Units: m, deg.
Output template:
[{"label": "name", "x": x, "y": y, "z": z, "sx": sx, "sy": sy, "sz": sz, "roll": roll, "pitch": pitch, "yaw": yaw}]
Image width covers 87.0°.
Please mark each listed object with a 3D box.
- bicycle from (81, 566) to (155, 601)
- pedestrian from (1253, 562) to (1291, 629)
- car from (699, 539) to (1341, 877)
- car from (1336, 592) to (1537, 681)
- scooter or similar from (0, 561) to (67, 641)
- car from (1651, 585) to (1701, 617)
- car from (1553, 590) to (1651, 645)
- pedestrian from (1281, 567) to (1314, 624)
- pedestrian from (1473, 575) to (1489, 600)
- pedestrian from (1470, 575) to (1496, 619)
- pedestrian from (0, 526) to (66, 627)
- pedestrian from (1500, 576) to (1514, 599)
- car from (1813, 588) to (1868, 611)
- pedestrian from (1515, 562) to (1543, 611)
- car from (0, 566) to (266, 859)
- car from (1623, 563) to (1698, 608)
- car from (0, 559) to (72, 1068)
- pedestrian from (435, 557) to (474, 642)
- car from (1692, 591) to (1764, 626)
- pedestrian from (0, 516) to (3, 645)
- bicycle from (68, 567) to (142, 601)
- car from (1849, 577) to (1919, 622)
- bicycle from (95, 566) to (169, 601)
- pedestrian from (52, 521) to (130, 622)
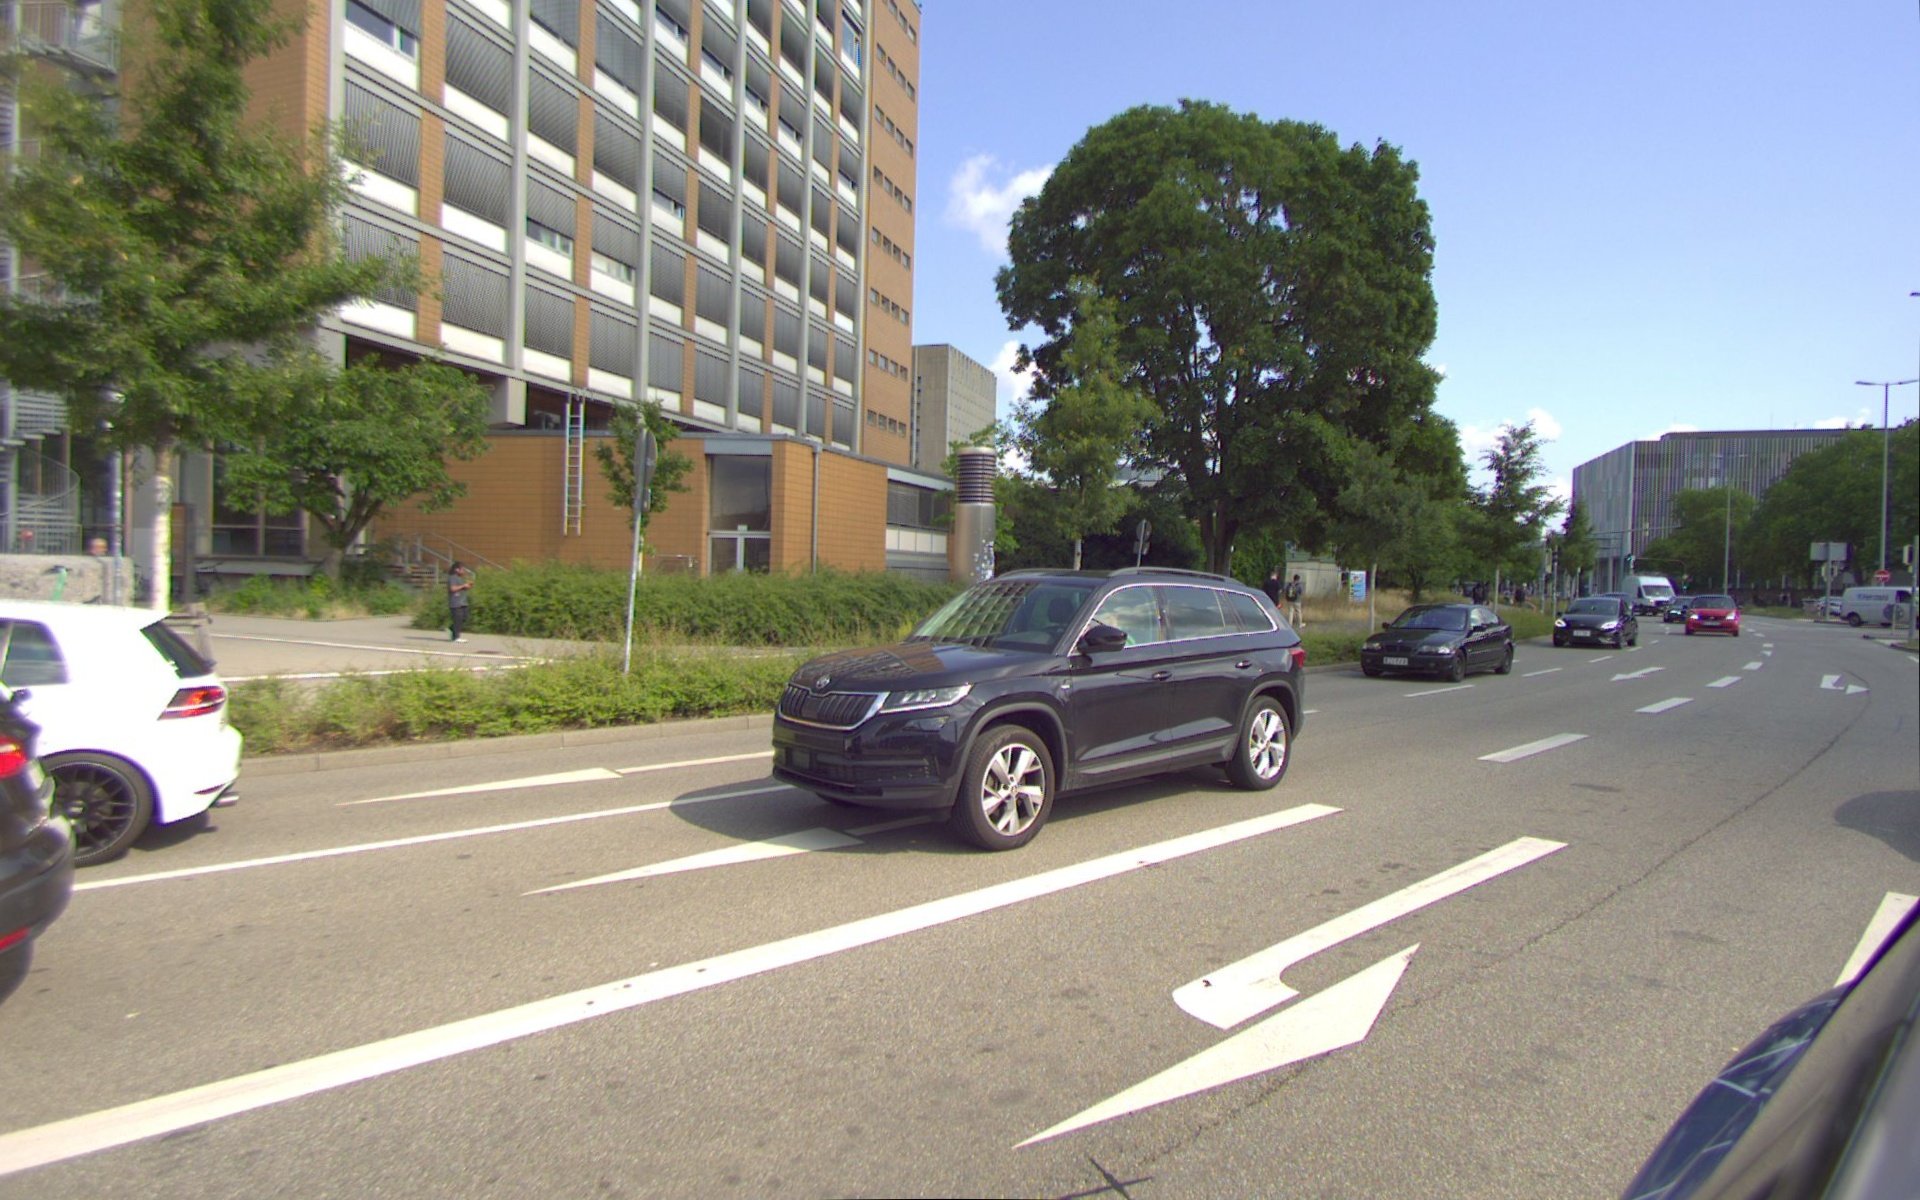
[{"label": "bicycle", "x": -23.061, "y": -0.457, "z": 27.734, "sx": 0.453, "sy": 0.916, "sz": 1.539, "roll": 1, "pitch": 2, "yaw": 21}, {"label": "pedestrian", "x": 9.235, "y": -0.141, "z": 29.966, "sx": 0.634, "sy": 1.893, "sz": 0.760, "roll": 0, "pitch": 4, "yaw": -41}, {"label": "car", "x": 0.678, "y": 0.507, "z": 7.335, "sx": 4.603, "sy": 1.689, "sz": 1.997, "roll": -1, "pitch": 1, "yaw": -41}, {"label": "car", "x": 9.181, "y": 0.599, "z": 19.339, "sx": 4.433, "sy": 1.415, "sz": 1.996, "roll": -1, "pitch": 2, "yaw": -43}, {"label": "scooter or similar", "x": -13.969, "y": 0.006, "z": 14.957, "sx": 1.164, "sy": 1.144, "sz": 0.404, "roll": 2, "pitch": 1, "yaw": -2}, {"label": "car", "x": 38.908, "y": 0.032, "z": 55.077, "sx": 1.876, "sy": 1.638, "sz": 3.957, "roll": 0, "pitch": 0, "yaw": 31}, {"label": "car", "x": 19.138, "y": 0.479, "z": 30.097, "sx": 1.709, "sy": 1.472, "sz": 3.937, "roll": 2, "pitch": 2, "yaw": 43}, {"label": "pedestrian", "x": 10.885, "y": -0.155, "z": 32.674, "sx": 0.634, "sy": 1.766, "sz": 0.671, "roll": 0, "pitch": 5, "yaw": -41}, {"label": "pedestrian", "x": 42.506, "y": -1.022, "z": 82.577, "sx": 0.980, "sy": 2.038, "sz": 1.117, "roll": 2, "pitch": 1, "yaw": 32}, {"label": "pedestrian", "x": 24.496, "y": -0.135, "z": 47.392, "sx": 0.980, "sy": 2.039, "sz": 1.117, "roll": 0, "pitch": 0, "yaw": 33}, {"label": "pedestrian", "x": -15.831, "y": -0.409, "z": 17.014, "sx": 0.919, "sy": 1.607, "sz": 0.767, "roll": 3, "pitch": 3, "yaw": -10}, {"label": "pedestrian", "x": 48.340, "y": -1.112, "z": 89.503, "sx": 0.980, "sy": 2.038, "sz": 1.117, "roll": 2, "pitch": 1, "yaw": 32}, {"label": "car", "x": 62.812, "y": -0.077, "z": 72.278, "sx": 1.943, "sy": 1.507, "sz": 5.047, "roll": 2, "pitch": 2, "yaw": 30}, {"label": "pedestrian", "x": 24.189, "y": -0.580, "z": 42.995, "sx": 0.980, "sy": 2.039, "sz": 1.117, "roll": 0, "pitch": 0, "yaw": 33}, {"label": "car", "x": -6.105, "y": 0.552, "z": 5.081, "sx": 4.156, "sy": 1.465, "sz": 1.682, "roll": 2, "pitch": -3, "yaw": -40}, {"label": "car", "x": 47.797, "y": -1.001, "z": 69.195, "sx": 2.453, "sy": 2.915, "sz": 6.114, "roll": 1, "pitch": 1, "yaw": 18}, {"label": "car", "x": -4.932, "y": 0.625, "z": 2.436, "sx": 4.182, "sy": 1.547, "sz": 1.770, "roll": 0, "pitch": 1, "yaw": -42}, {"label": "pedestrian", "x": -9.360, "y": -0.012, "z": 18.736, "sx": 0.570, "sy": 1.539, "sz": 0.480, "roll": 0, "pitch": 3, "yaw": -37}, {"label": "car", "x": 29.501, "y": 0.313, "z": 38.856, "sx": 2.958, "sy": 1.229, "sz": 1.607, "roll": -2, "pitch": 1, "yaw": -41}, {"label": "pedestrian", "x": -15.653, "y": -0.307, "z": 15.815, "sx": 0.718, "sy": 2.038, "sz": 0.801, "roll": 3, "pitch": 3, "yaw": 26}, {"label": "bicycle", "x": -23.634, "y": -0.459, "z": 27.987, "sx": 0.453, "sy": 0.916, "sz": 1.539, "roll": 1, "pitch": 2, "yaw": 21}, {"label": "car", "x": 45.285, "y": -0.035, "z": 47.828, "sx": 1.962, "sy": 2.039, "sz": 5.075, "roll": 0, "pitch": 0, "yaw": -1}, {"label": "bicycle", "x": -22.475, "y": -0.456, "z": 27.486, "sx": 0.453, "sy": 0.916, "sz": 1.539, "roll": 1, "pitch": 2, "yaw": 21}, {"label": "pedestrian", "x": -14.638, "y": -0.486, "z": 17.053, "sx": 0.766, "sy": 1.607, "sz": 0.758, "roll": 5, "pitch": 3, "yaw": 27}]
